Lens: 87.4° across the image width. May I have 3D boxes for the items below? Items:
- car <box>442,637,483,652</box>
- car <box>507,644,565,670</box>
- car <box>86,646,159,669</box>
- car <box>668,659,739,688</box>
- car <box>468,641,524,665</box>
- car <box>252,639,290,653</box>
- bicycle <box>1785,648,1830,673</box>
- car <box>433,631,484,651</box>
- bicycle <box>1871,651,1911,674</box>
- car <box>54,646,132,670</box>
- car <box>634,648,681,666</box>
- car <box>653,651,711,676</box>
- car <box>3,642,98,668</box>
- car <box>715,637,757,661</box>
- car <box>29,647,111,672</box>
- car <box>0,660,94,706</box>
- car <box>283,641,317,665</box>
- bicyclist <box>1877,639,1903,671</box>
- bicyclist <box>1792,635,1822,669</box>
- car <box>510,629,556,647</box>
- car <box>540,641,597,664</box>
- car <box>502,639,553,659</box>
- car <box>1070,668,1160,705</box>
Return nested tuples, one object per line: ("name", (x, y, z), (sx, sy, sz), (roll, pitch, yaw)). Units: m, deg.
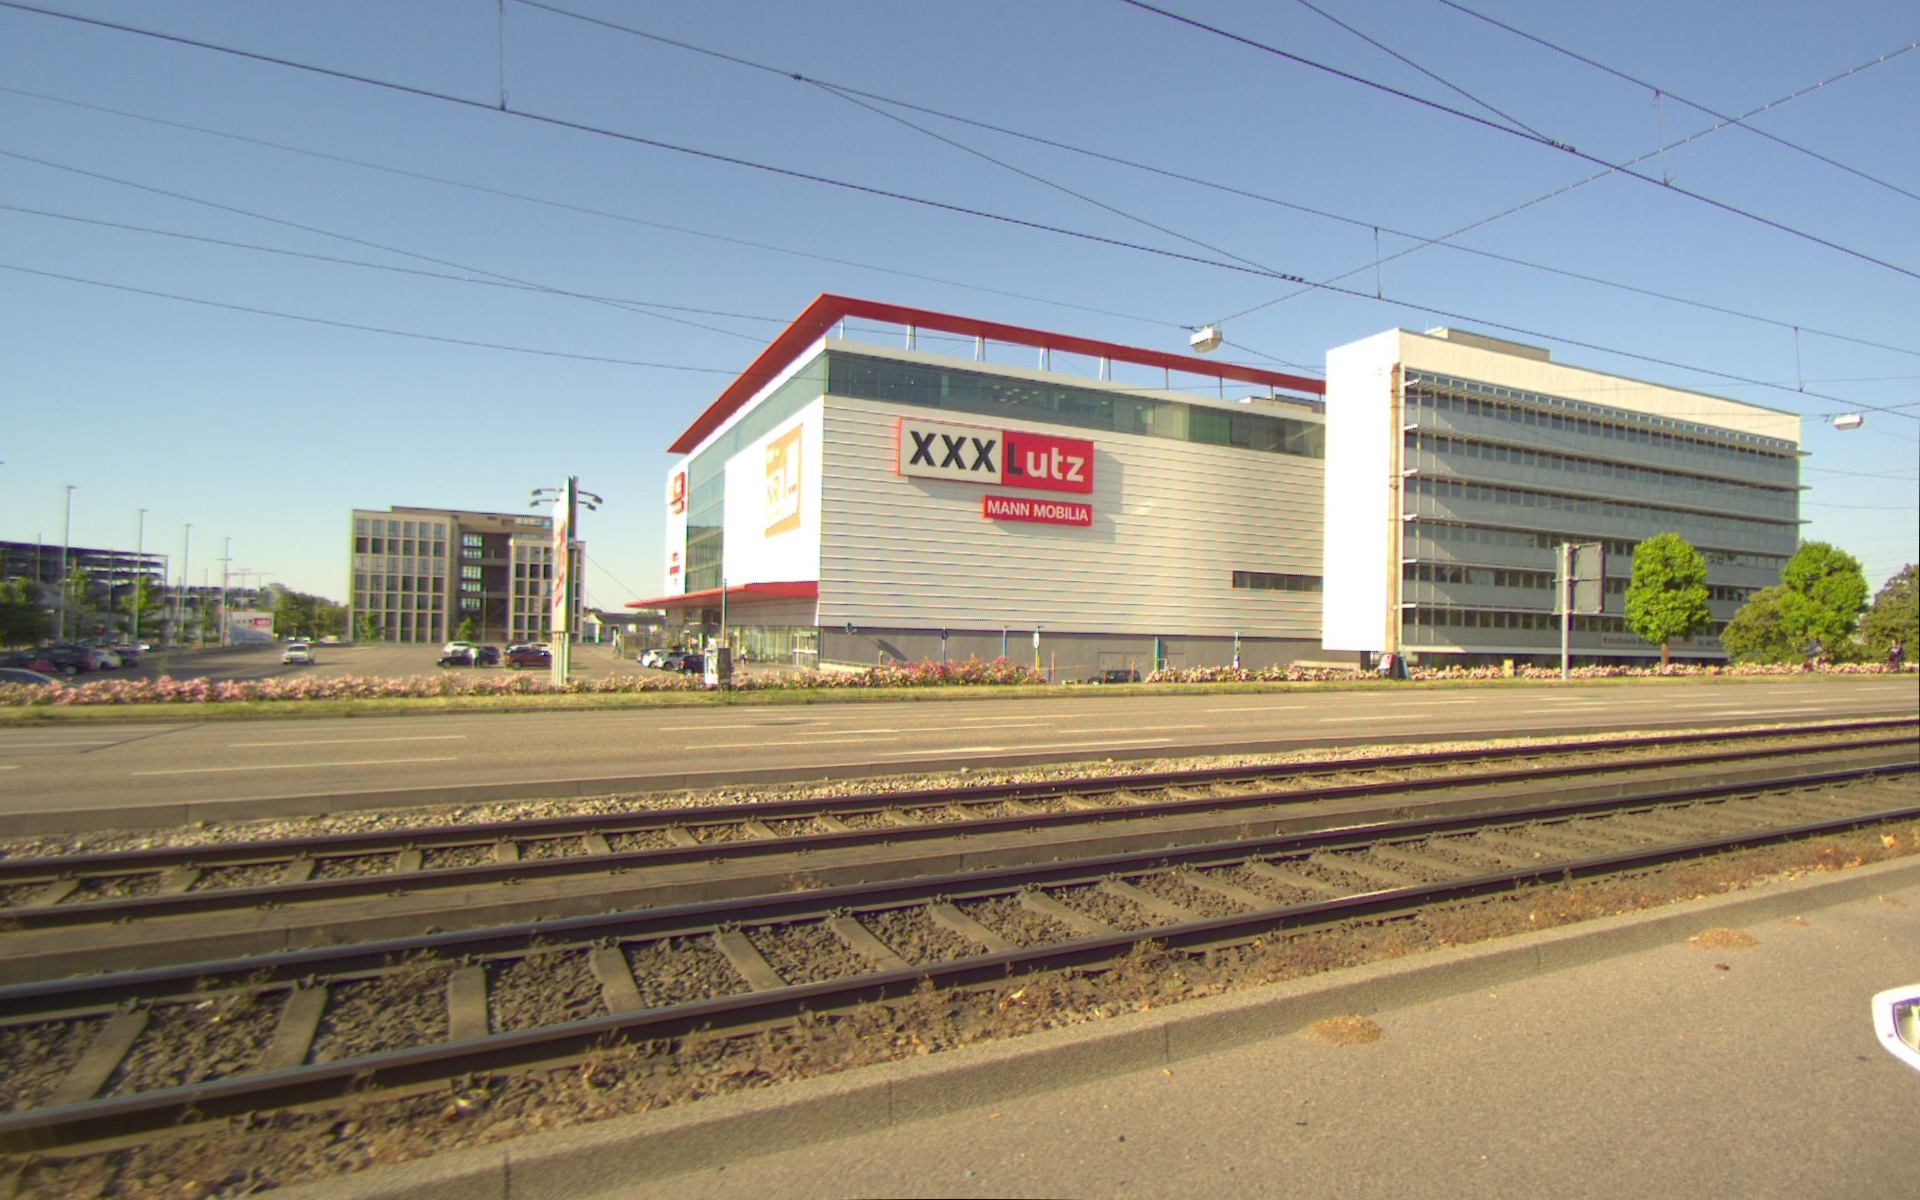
("car", (-54.650, 4.871, 110.379), (3.946, 1.468, 1.867), (1, 1, -26))
("car", (-32.661, 4.390, 77.390), (3.951, 1.838, 1.985), (1, 1, -29))
("car", (-65.138, 4.436, 78.203), (3.948, 1.677, 1.987), (1, -2, -27))
("car", (-17.449, 4.999, 68.335), (4.394, 1.725, 1.913), (1, 1, -29))
("car", (-36.973, 4.195, 80.048), (3.951, 1.725, 1.966), (1, 1, -29))
("car", (-93.802, 6.264, 136.844), (3.948, 1.805, 1.986), (1, 1, -27))
("bicycle", (40.237, 2.865, 47.688), (1.997, 1.088, 0.703), (1, 1, -21))
("car", (-46.698, 3.839, 93.534), (3.938, 1.737, 1.992), (1, -3, -19))
("bicycle", (49.569, 3.331, 53.469), (1.990, 1.166, 0.660), (1, 1, -19))
("car", (-63.485, 4.257, 73.641), (3.948, 1.677, 1.790), (1, -2, -27))
("car", (-25.759, 4.807, 85.475), (3.617, 1.387, 1.648), (1, 1, -26))
("car", (-21.125, 4.801, 76.318), (3.951, 1.725, 1.913), (1, 1, -29))
("car", (-60.206, 3.635, 66.603), (4.390, 1.573, 1.658), (1, 1, -32))
("car", (-19.310, 4.218, 86.693), (3.245, 1.880, 1.501), (1, 1, -26))
("car", (-62.629, 4.147, 70.788), (3.948, 1.677, 1.717), (1, -2, -27))
("car", (-37.123, 3.259, 39.696), (3.940, 1.746, 1.862), (1, -2, -21))
("car", (-56.566, 4.520, 86.145), (1.802, 1.824, 4.203), (1, 1, -24))
("bicyclist", (49.485, 2.931, 53.430), (0.788, 1.645, 0.660), (1, 1, -18))
("bicyclist", (40.185, 2.467, 47.659), (0.956, 1.532, 0.703), (1, 1, -21))
("car", (-42.768, 3.795, 100.597), (3.958, 1.640, 1.862), (1, 1, -34))
("car", (-31.559, 4.219, 80.982), (3.954, 1.640, 1.863), (1, 1, -31))
("car", (-38.207, 4.318, 88.760), (3.954, 1.640, 1.863), (1, 1, -31))
("car", (5.353, 2.956, 34.656), (2.799, 1.087, 1.321), (1, 1, -26))
